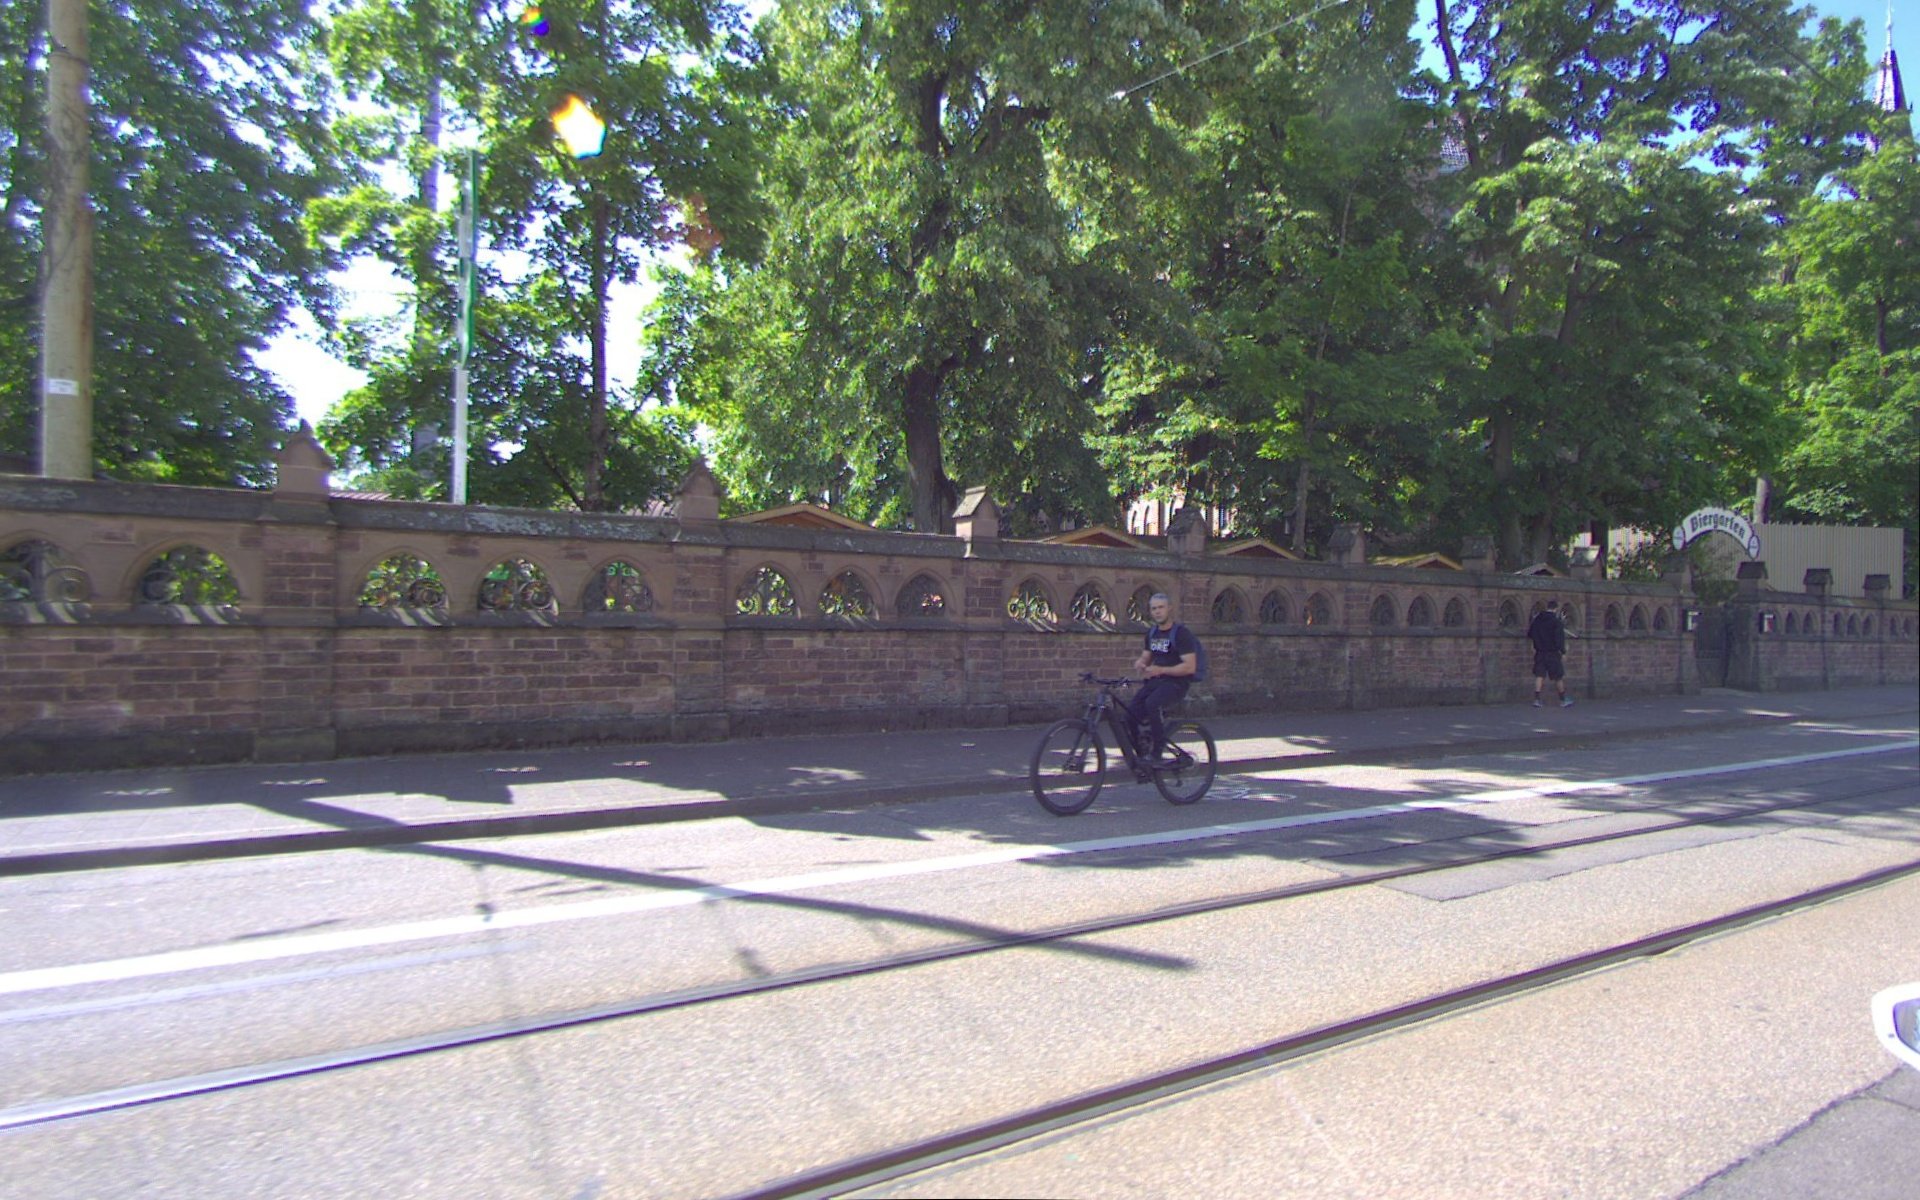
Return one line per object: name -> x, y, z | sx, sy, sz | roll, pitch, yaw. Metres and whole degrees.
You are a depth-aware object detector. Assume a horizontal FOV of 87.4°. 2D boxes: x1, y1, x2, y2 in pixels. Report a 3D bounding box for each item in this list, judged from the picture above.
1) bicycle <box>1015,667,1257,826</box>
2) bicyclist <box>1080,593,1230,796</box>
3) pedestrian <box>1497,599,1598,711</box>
bicycle -> 1.466, 1.131, 8.190 | 2.030, 1.120, 0.589 | 2, -1, -30
bicyclist -> 1.587, 0.736, 8.216 | 0.936, 1.551, 0.737 | 2, -1, -30
pedestrian -> 10.330, 0.949, 17.670 | 1.171, 1.840, 0.972 | 2, 3, -30
